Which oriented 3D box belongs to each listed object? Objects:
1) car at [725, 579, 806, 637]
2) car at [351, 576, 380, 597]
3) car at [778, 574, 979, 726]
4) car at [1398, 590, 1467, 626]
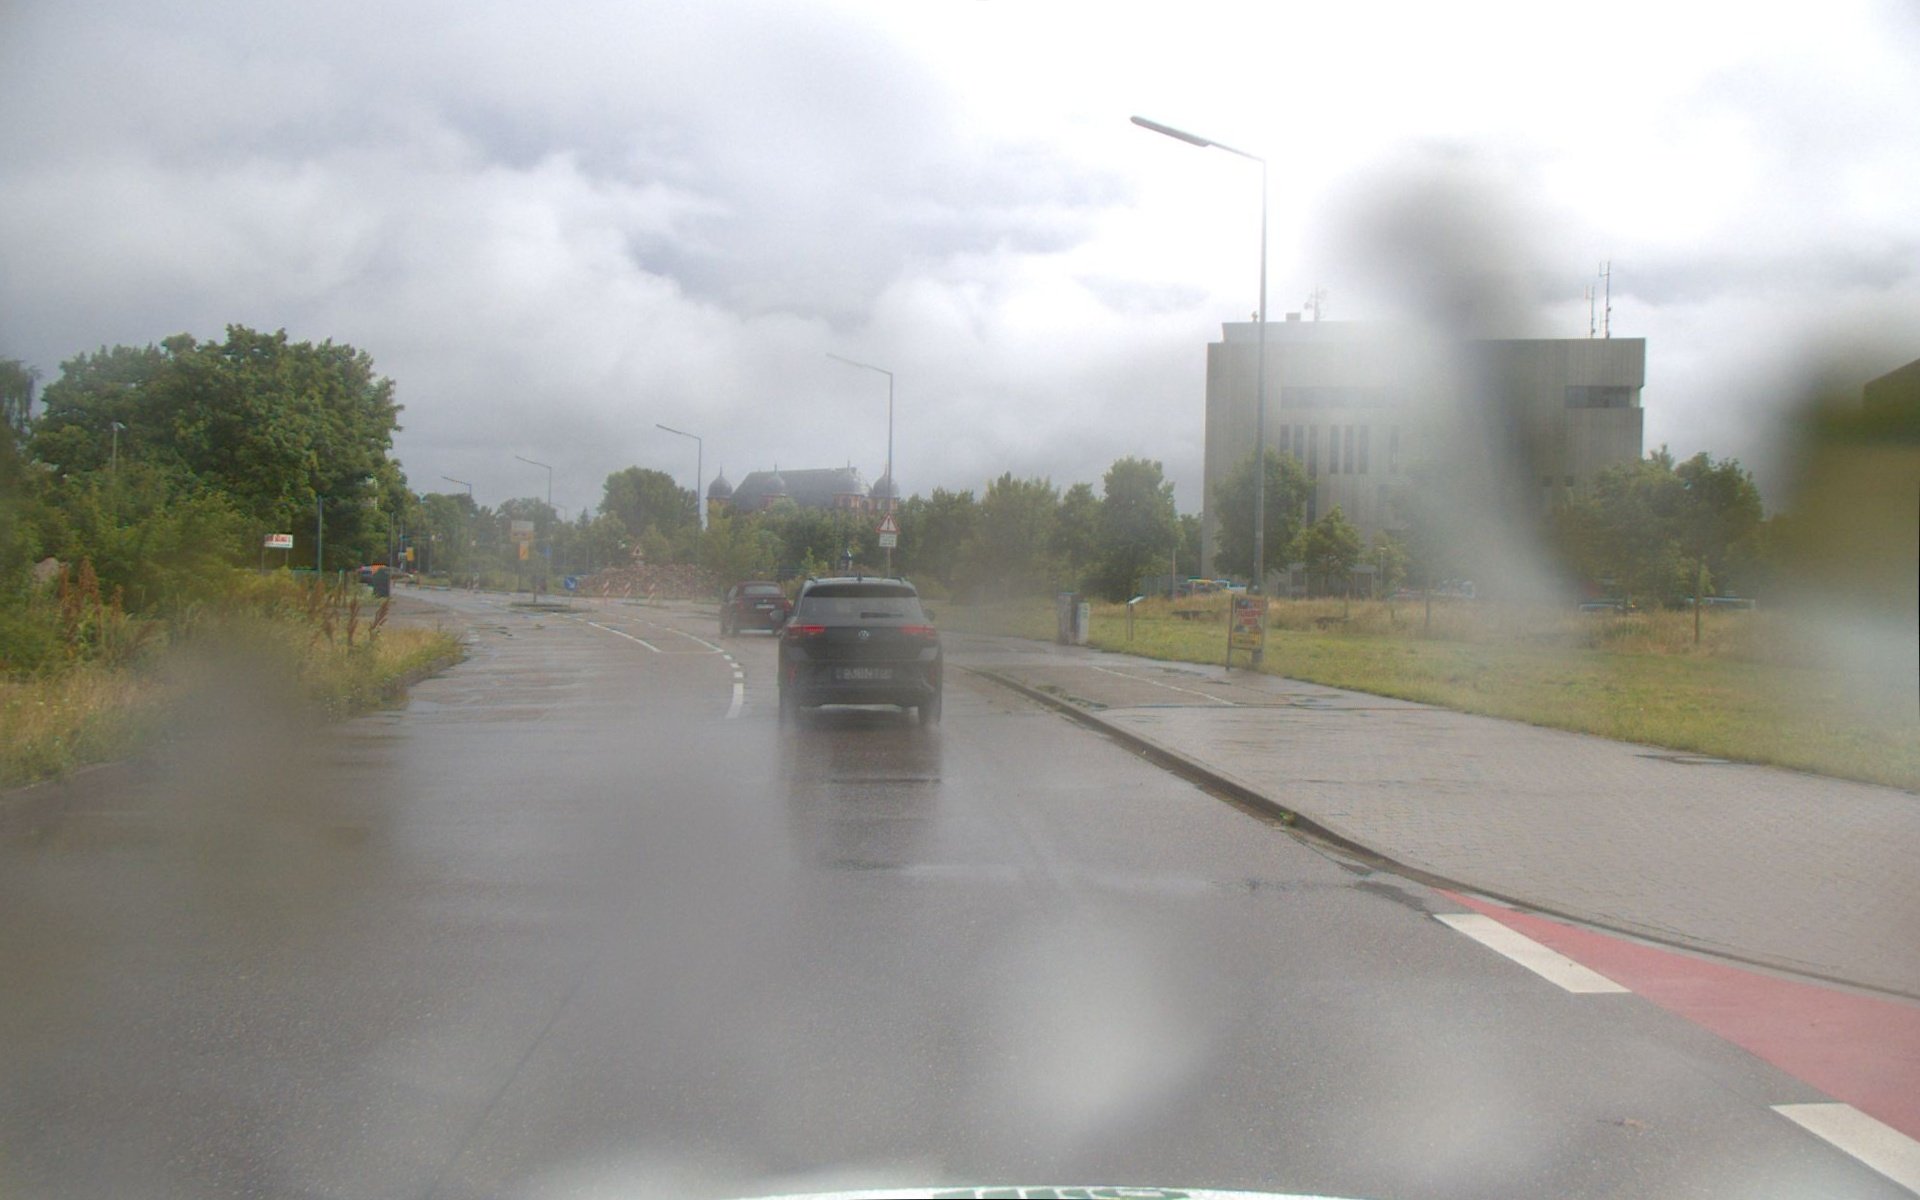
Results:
[{"bbox_3d":[-5.290,0.196,44.578,1.809,1.467,3.988,-1,1,-12],"label":"car"},{"bbox_3d":[-50.762,-1.169,141.276,1.820,1.670,3.980,1,0,-27],"label":"car"},{"bbox_3d":[-1.042,0.476,18.887,1.949,1.547,3.993,0,1,-8],"label":"car"},{"bbox_3d":[27.830,0.465,97.374,3.624,2.049,1.999,1,0,25],"label":"car"}]
